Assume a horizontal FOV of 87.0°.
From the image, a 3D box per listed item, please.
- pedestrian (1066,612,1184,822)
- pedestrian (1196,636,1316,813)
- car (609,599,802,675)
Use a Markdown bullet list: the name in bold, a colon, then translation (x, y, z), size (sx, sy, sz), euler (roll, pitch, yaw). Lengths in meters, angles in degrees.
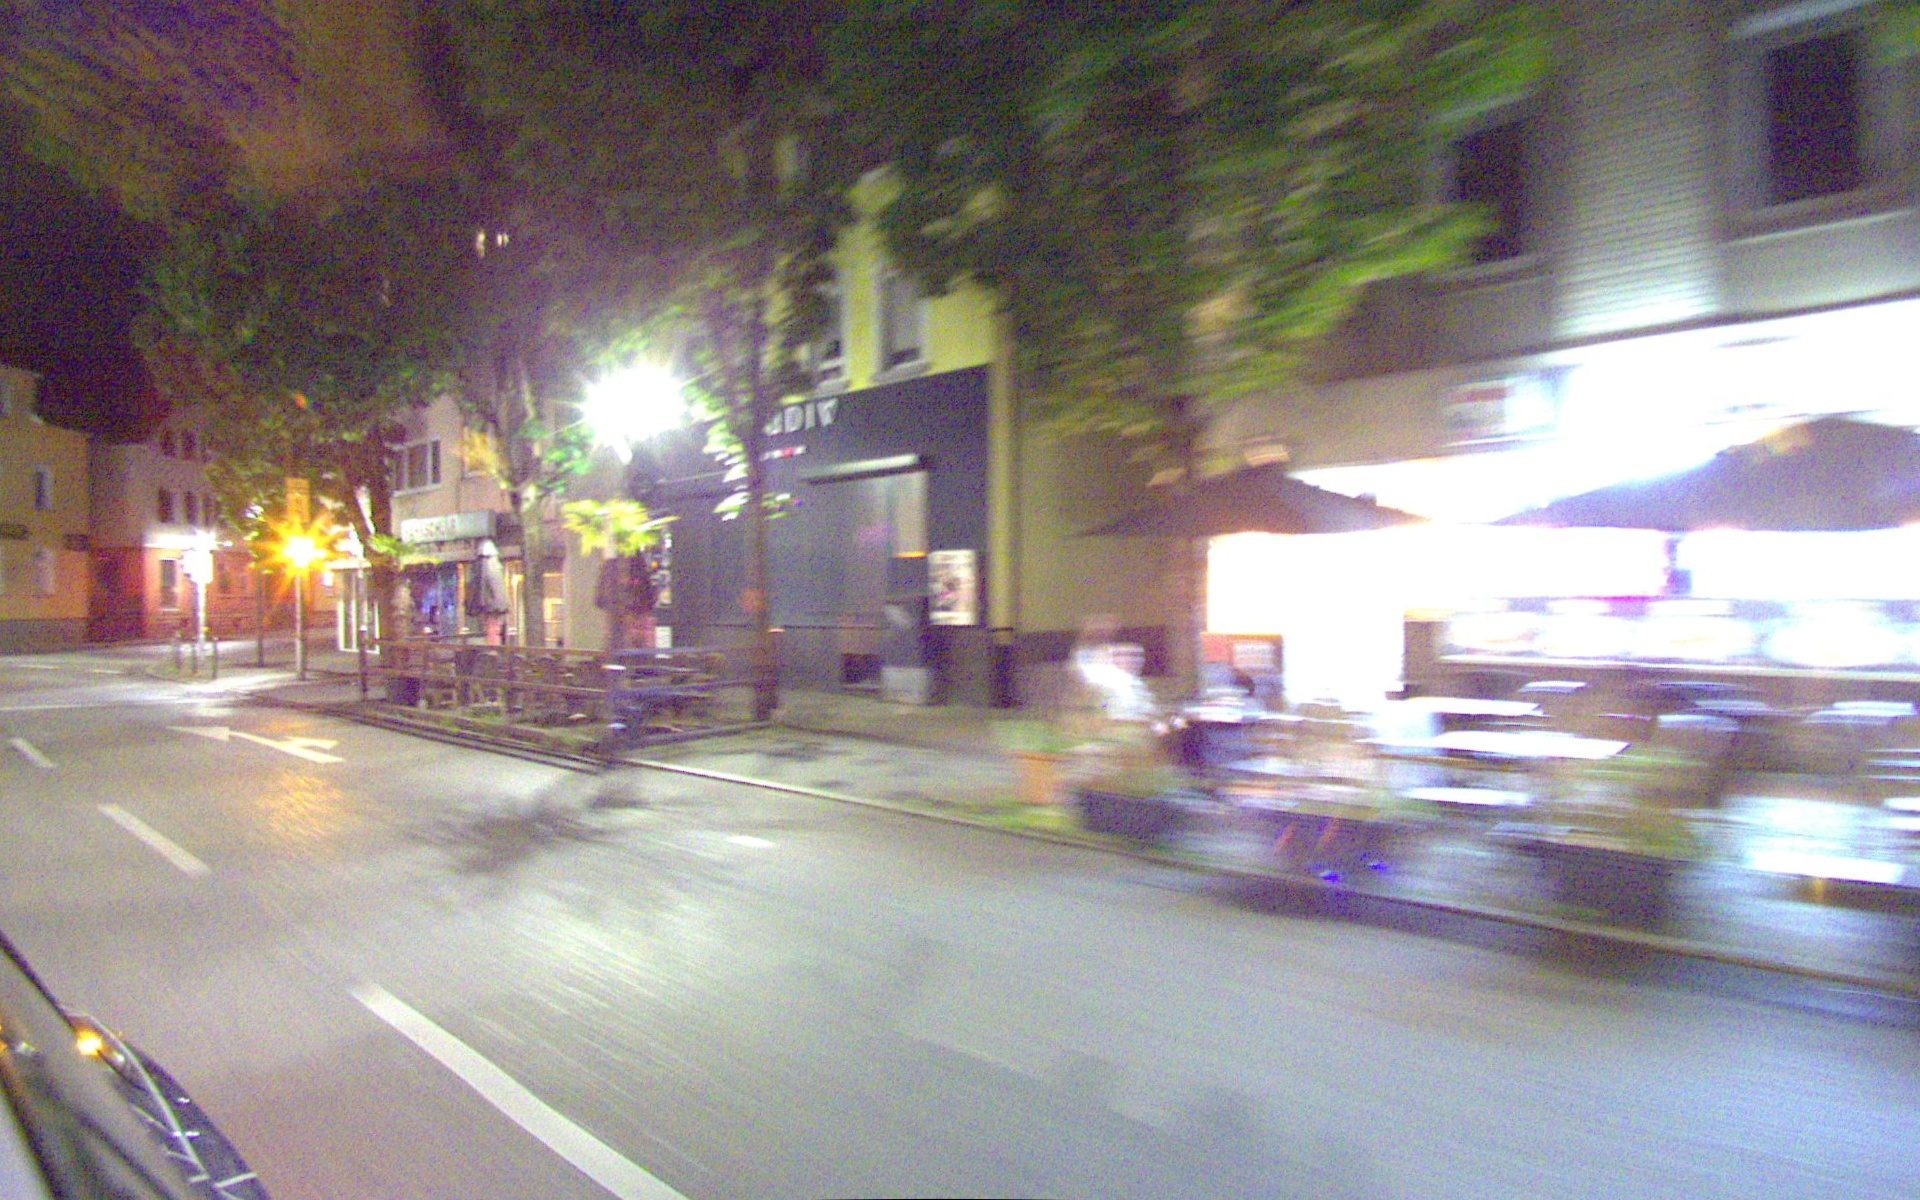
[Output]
- **pedestrian**: translation (1.183, 0.790, 7.215), size (0.575, 1.388, 0.670), euler (-1, 0, 36)
- **pedestrian**: translation (2.141, 0.863, 7.316), size (0.677, 1.173, 0.569), euler (-1, 0, 36)
- **car**: translation (-5.718, 0.776, 23.042), size (1.819, 1.538, 3.946), euler (-1, 0, 41)
